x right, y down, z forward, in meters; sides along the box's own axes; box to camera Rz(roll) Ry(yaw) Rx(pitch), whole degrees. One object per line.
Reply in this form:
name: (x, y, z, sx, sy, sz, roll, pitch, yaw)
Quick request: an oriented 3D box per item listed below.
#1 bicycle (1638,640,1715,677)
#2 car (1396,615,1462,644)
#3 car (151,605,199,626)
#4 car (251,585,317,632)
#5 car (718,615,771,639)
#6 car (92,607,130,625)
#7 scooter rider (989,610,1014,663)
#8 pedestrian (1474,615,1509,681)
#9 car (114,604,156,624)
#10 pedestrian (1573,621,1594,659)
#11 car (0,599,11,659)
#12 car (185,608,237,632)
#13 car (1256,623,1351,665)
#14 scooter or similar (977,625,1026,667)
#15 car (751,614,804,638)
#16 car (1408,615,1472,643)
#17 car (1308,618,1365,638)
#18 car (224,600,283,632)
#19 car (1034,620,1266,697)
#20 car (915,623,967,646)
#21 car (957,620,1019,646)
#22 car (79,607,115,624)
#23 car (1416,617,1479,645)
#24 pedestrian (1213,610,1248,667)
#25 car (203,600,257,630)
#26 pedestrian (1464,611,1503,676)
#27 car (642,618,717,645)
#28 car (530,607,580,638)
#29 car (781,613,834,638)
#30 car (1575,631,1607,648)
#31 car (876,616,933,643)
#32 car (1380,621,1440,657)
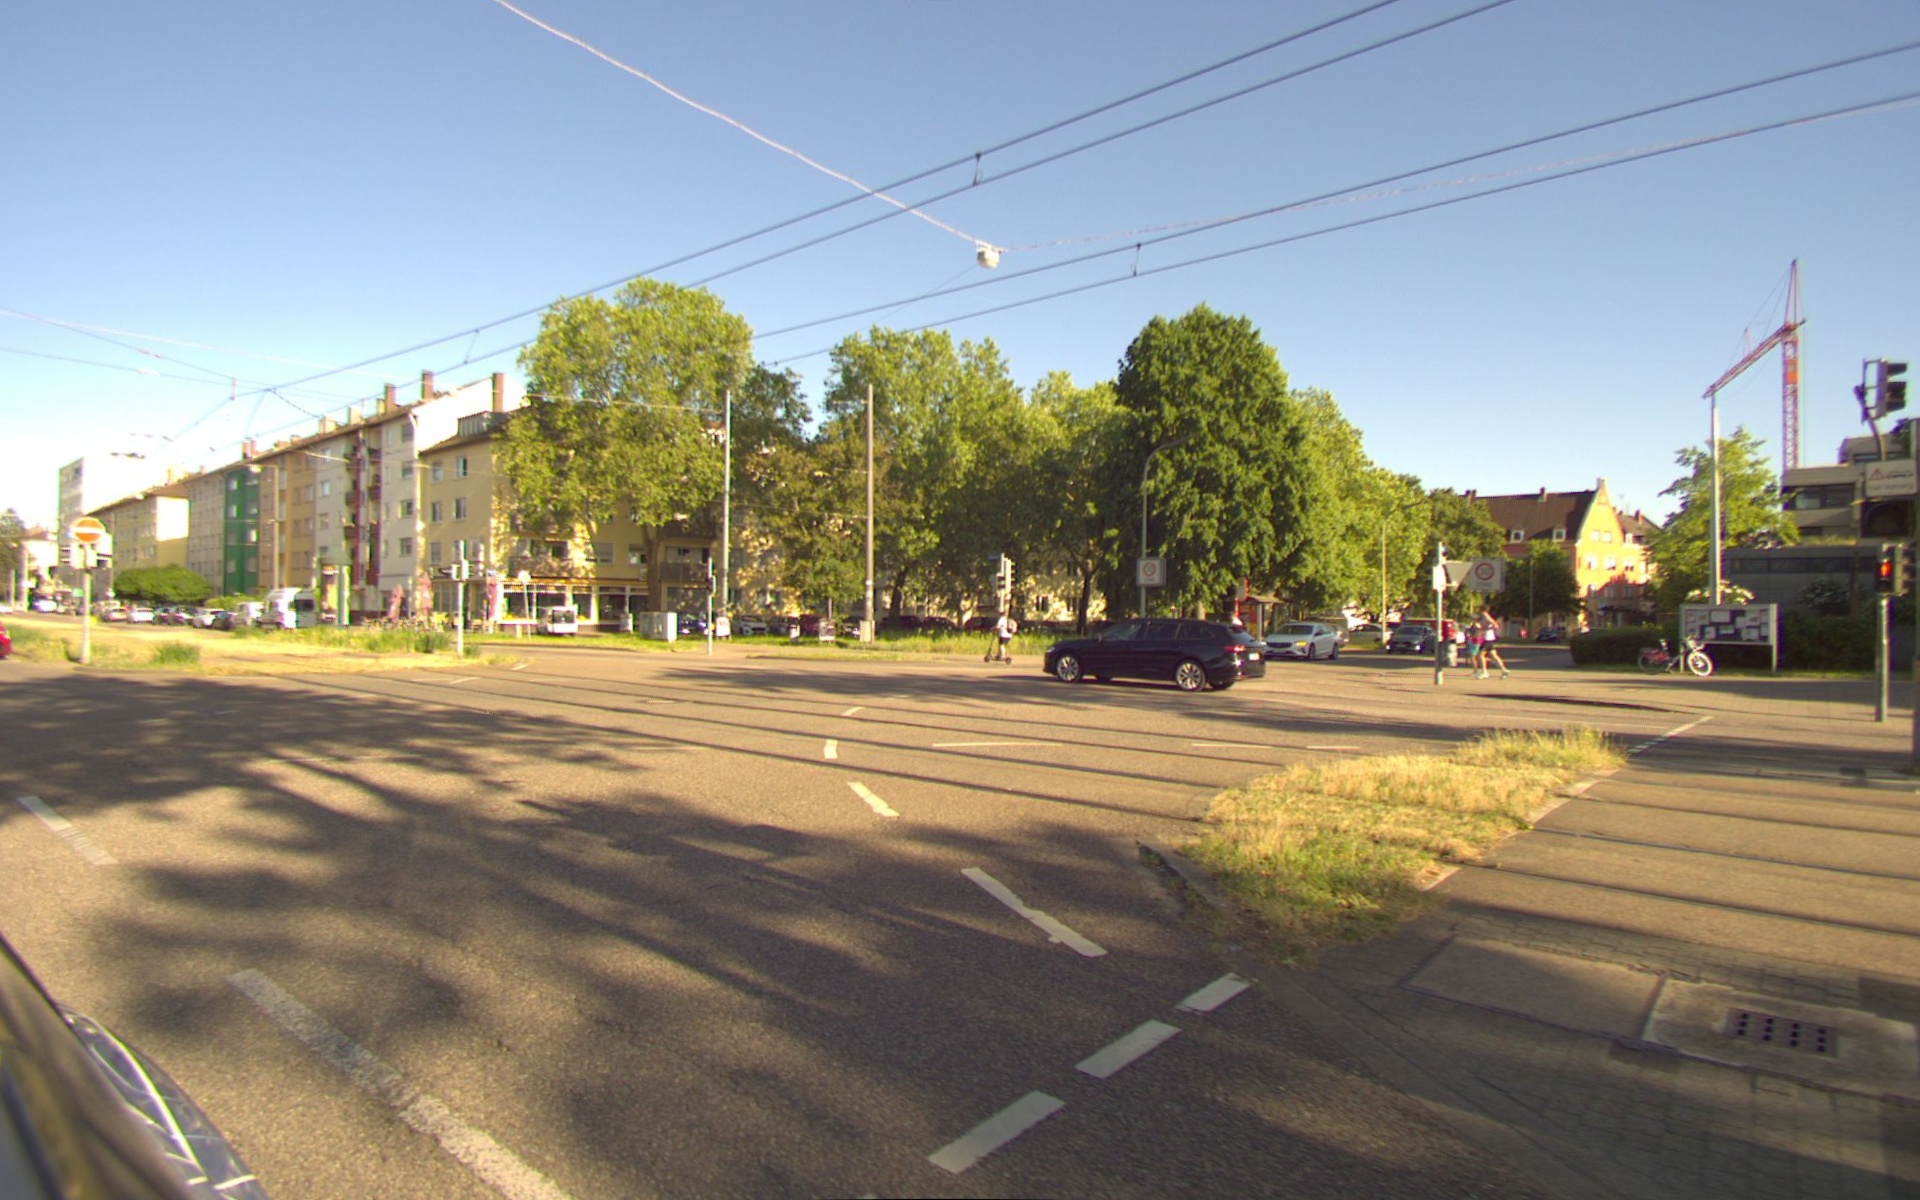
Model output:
bicycle: (19.392, 1.572, 27.404, 1.697, 0.935, 0.441, 0, -1, 38)
car: (34.370, 2.132, 74.228, 3.997, 2.029, 1.973, 0, 0, 40)
car: (-64.353, 1.252, 82.973, 5.444, 1.720, 2.117, 0, -1, 41)
car: (-42.772, 0.549, 64.013, 5.227, 2.846, 2.202, 0, -1, 41)
car: (-14.647, 1.792, 68.684, 1.967, 1.564, 3.943, 1, -1, -37)
car: (-85.637, 1.594, 102.056, 5.400, 1.720, 2.117, 0, -1, 41)
scooter rider: (1.356, 1.183, 33.235, 0.572, 1.708, 0.589, 0, -1, 35)
pedestrian: (14.013, 1.248, 26.668, 0.746, 1.694, 0.589, 0, -1, 35)
car: (-76.007, 1.279, 93.231, 5.444, 1.720, 2.117, 0, -1, 41)
pedestrian: (24.634, 1.579, 39.965, 0.547, 1.478, 0.857, 0, -1, 43)
car: (-26.661, 0.760, 26.289, 3.577, 1.542, 1.533, 0, 1, 21)
car: (-56.703, 1.480, 76.558, 5.155, 1.720, 2.117, 0, -1, 41)
car: (13.423, 1.670, 39.440, 1.999, 1.497, 4.467, 0, -1, 41)
scooter or similar: (1.367, 1.489, 33.233, 1.538, 1.319, 0.591, 0, -1, 36)
car: (-12.624, 1.794, 69.870, 1.967, 1.564, 3.943, 1, -1, -37)
car: (36.010, 2.135, 75.915, 3.997, 2.029, 1.973, 0, 0, 40)
car: (30.349, 2.255, 81.700, 1.966, 1.564, 3.946, 1, -1, -31)
car: (-48.057, 1.063, 68.830, 5.155, 2.050, 2.117, 0, -1, 41)
car: (4.000, 1.169, 21.655, 4.520, 1.453, 1.932, 0, -1, 37)
car: (-1.466, 2.558, 75.906, 1.967, 1.564, 3.943, 1, -1, -37)
car: (1.756, 2.086, 65.375, 1.967, 1.564, 3.943, 1, -1, -37)
car: (-91.003, 1.645, 106.649, 5.400, 1.720, 2.117, 0, -1, 41)
car: (37.391, 2.370, 77.676, 3.997, 2.029, 1.973, 0, 0, 40)
pedestrian: (8.230, 1.170, 30.756, 0.878, 1.708, 0.589, 0, -1, 35)
car: (-52.498, 1.074, 72.708, 4.863, 2.050, 2.117, 0, -1, 41)
pedestrian: (14.281, 1.180, 27.605, 0.878, 1.736, 0.589, 0, -1, 35)
car: (-16.341, 1.825, 59.044, 3.930, 1.448, 1.723, 2, -1, -26)
car: (-25.113, 1.372, 62.660, 1.882, 1.896, 4.009, 1, -1, -37)
car: (-8.957, 1.473, 59.110, 1.616, 1.318, 4.012, 2, -1, -31)
car: (60.065, 3.706, 96.302, 1.999, 1.567, 4.467, -1, -2, 41)
car: (-3.782, 1.976, 68.100, 1.967, 1.718, 3.943, 1, -1, -37)
car: (23.066, 1.960, 51.821, 1.786, 1.728, 3.945, 0, -1, 41)
